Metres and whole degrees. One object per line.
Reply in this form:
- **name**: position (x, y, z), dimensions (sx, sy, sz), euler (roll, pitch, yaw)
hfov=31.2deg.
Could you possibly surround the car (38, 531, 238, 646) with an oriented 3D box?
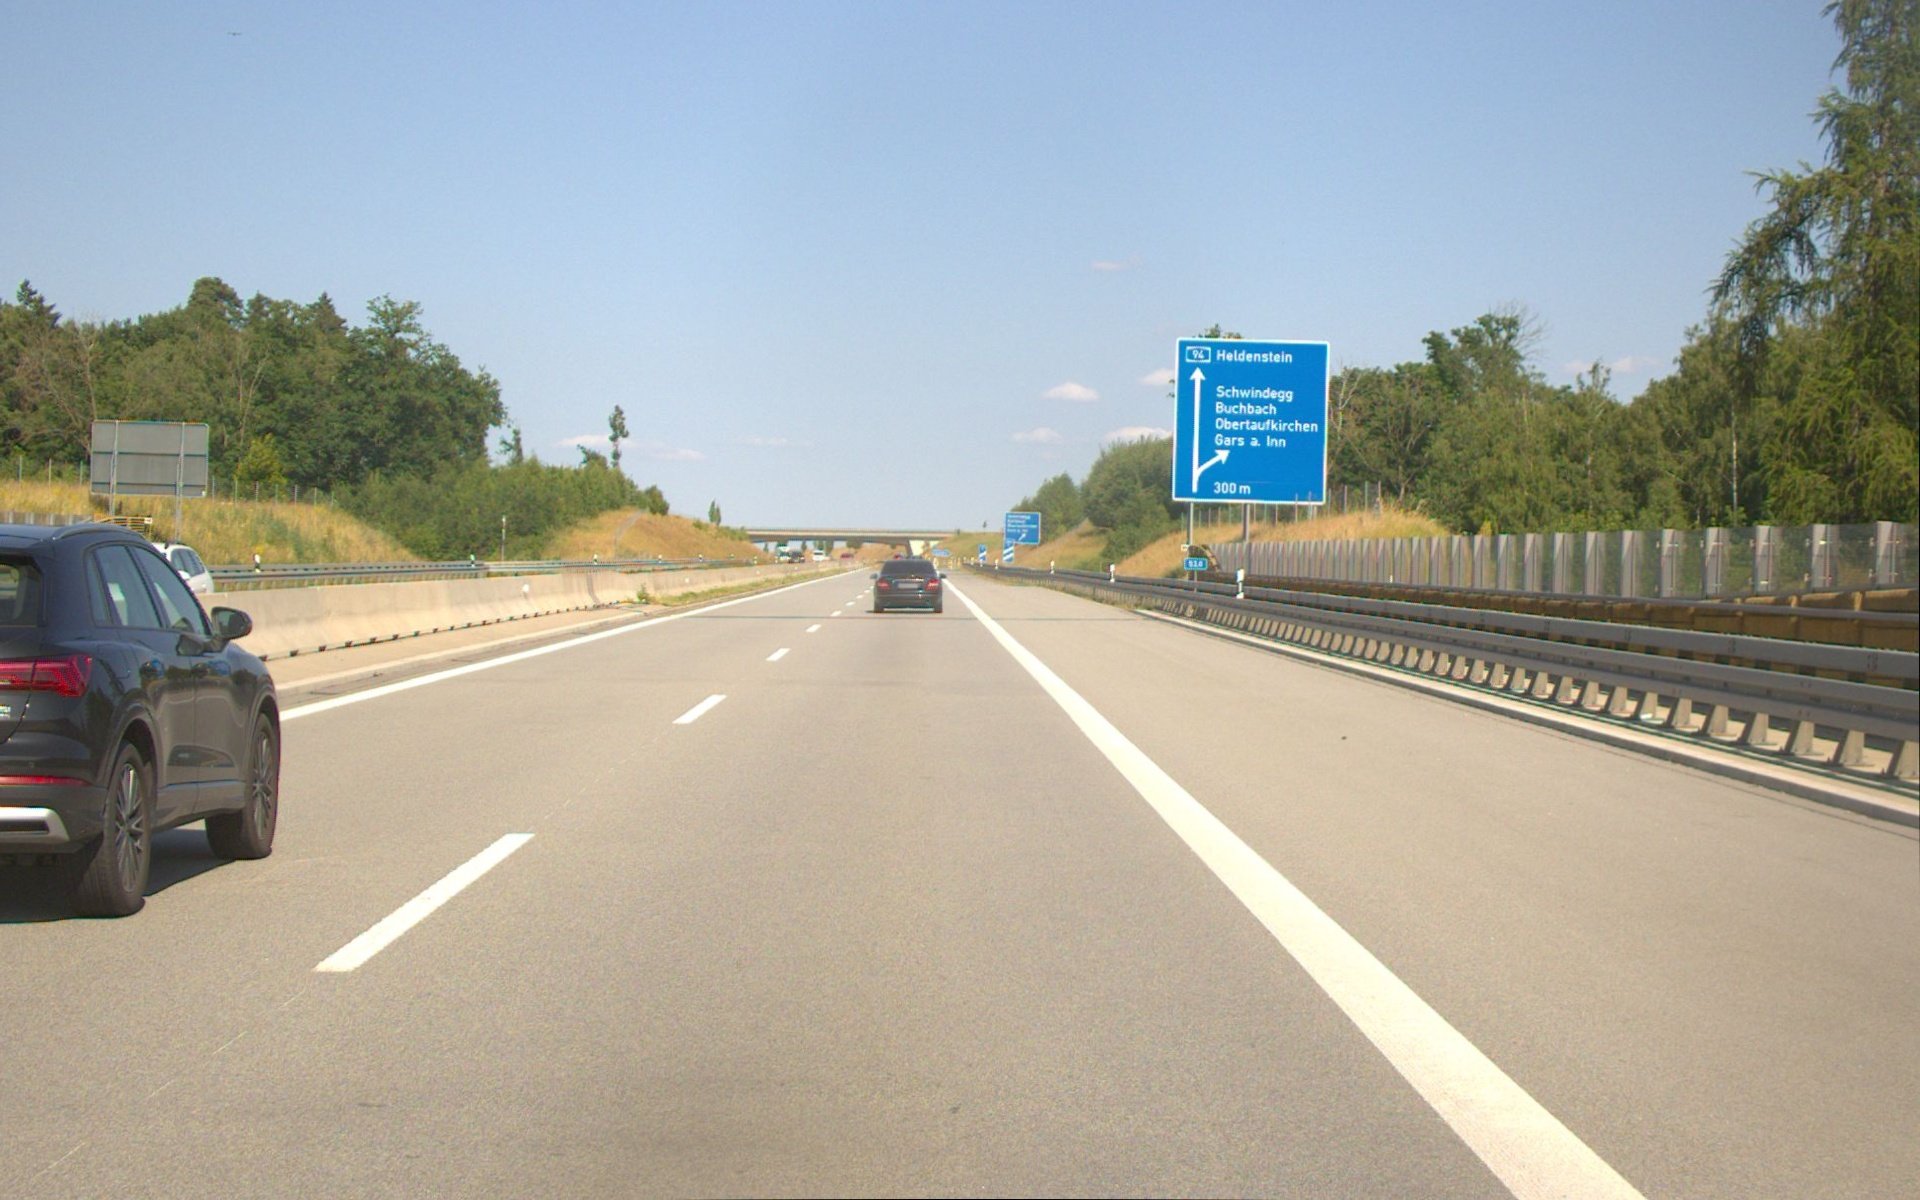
- **car**: position (-11.321, -0.194, 47.652), dimensions (1.727, 1.497, 4.625), euler (1, 1, -1)

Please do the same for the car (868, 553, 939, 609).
- **car**: position (-1.447, -0.514, 89.094), dimensions (1.790, 1.369, 3.917), euler (1, 1, 0)

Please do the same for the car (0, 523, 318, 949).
- **car**: position (-4.217, 0.454, 15.394), dimensions (1.722, 1.582, 5.222), euler (1, 1, 0)
